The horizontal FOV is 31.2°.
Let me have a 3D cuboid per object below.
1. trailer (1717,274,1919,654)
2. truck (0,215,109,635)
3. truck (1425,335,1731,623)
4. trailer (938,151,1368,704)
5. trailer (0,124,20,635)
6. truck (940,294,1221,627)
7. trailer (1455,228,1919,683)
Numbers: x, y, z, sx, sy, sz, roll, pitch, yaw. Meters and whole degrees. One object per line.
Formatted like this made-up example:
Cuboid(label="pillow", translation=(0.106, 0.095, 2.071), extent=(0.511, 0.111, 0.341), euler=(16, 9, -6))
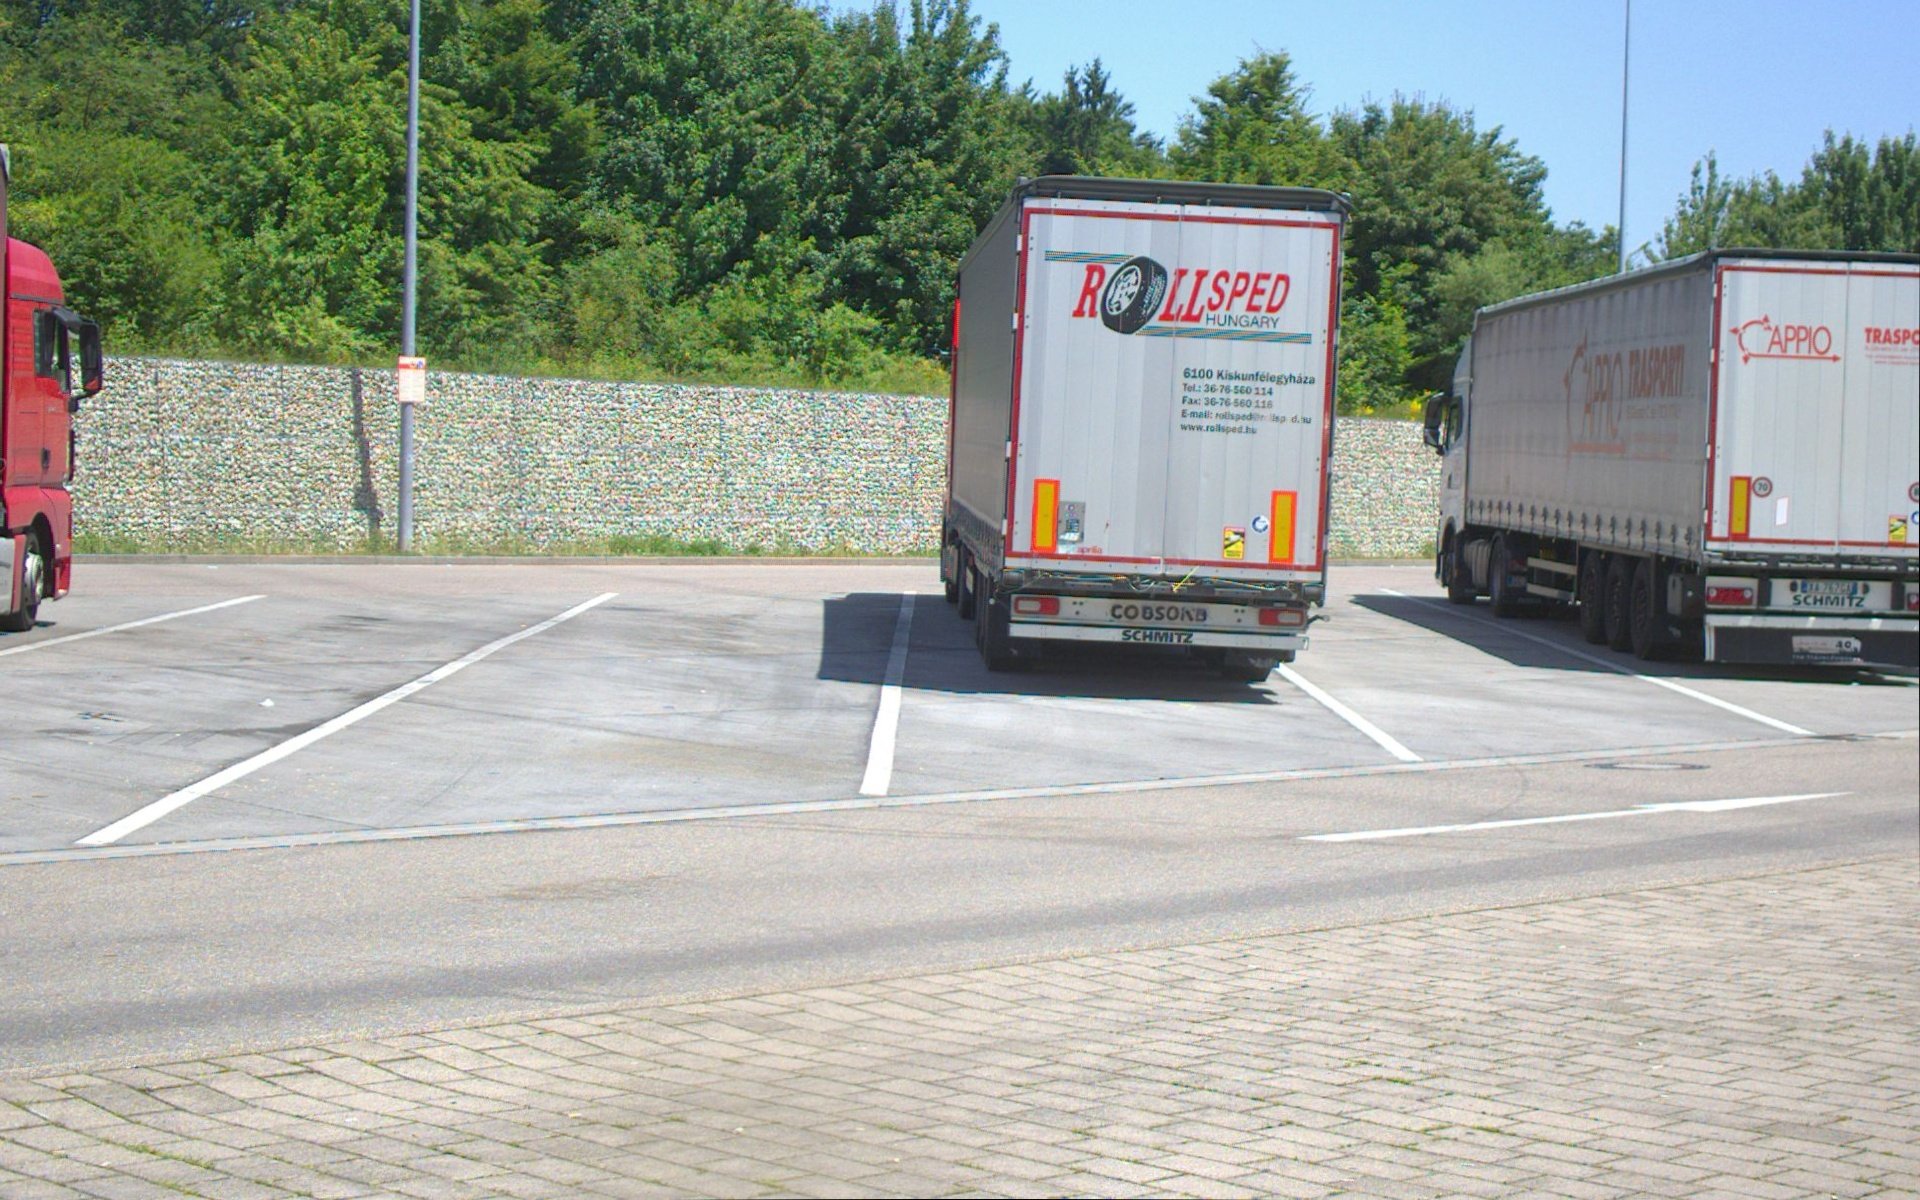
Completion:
Cuboid(label="trailer", translation=(11.785, -1.528, 39.438), extent=(2.838, 4.118, 13.724), euler=(2, 3, -1))
Cuboid(label="truck", translation=(-9.243, -1.502, 28.734), extent=(2.852, 3.416, 5.483), euler=(2, 2, -1))
Cuboid(label="truck", translation=(8.053, -1.622, 45.498), extent=(2.852, 3.472, 5.483), euler=(2, 2, -1))
Cuboid(label="trailer", translation=(1.432, -1.620, 33.194), extent=(2.906, 4.118, 13.725), euler=(2, 3, -1))
Cuboid(label="trailer", translation=(-9.151, -1.487, 21.295), extent=(2.906, 4.118, 13.725), euler=(2, 3, -1))
Cuboid(label="truck", translation=(1.282, -1.626, 39.807), extent=(2.852, 3.472, 5.483), euler=(2, 2, -1))
Cuboid(label="trailer", translation=(8.148, -1.625, 38.685), extent=(2.838, 4.118, 13.724), euler=(2, 3, -1))
